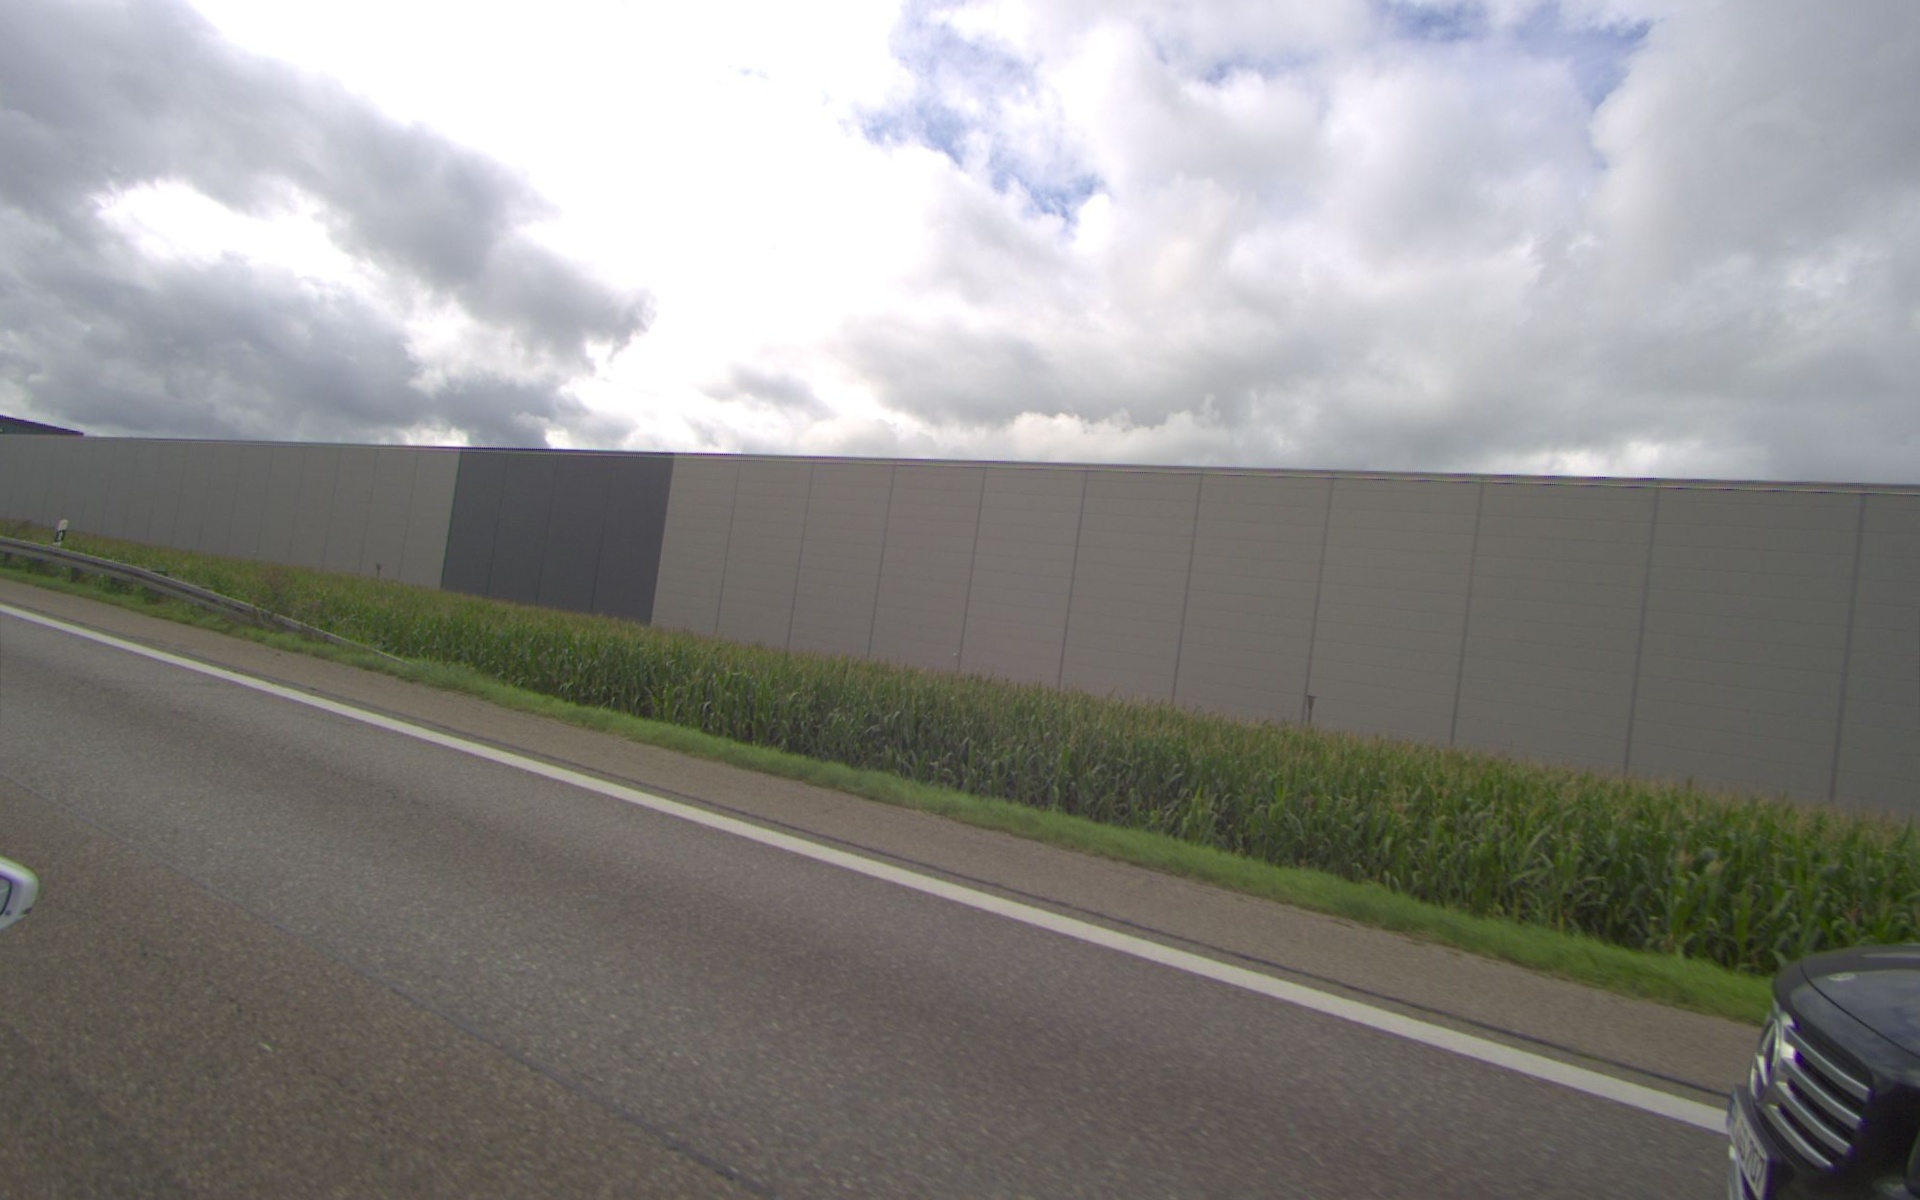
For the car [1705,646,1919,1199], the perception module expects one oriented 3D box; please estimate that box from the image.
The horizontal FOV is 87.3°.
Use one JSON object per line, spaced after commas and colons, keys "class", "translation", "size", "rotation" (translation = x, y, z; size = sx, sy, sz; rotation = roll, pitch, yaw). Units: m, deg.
{"class": "car", "translation": [3.813, 1.162, 1.303], "size": [4.289, 1.628, 1.836], "rotation": [6, -2, 32]}
